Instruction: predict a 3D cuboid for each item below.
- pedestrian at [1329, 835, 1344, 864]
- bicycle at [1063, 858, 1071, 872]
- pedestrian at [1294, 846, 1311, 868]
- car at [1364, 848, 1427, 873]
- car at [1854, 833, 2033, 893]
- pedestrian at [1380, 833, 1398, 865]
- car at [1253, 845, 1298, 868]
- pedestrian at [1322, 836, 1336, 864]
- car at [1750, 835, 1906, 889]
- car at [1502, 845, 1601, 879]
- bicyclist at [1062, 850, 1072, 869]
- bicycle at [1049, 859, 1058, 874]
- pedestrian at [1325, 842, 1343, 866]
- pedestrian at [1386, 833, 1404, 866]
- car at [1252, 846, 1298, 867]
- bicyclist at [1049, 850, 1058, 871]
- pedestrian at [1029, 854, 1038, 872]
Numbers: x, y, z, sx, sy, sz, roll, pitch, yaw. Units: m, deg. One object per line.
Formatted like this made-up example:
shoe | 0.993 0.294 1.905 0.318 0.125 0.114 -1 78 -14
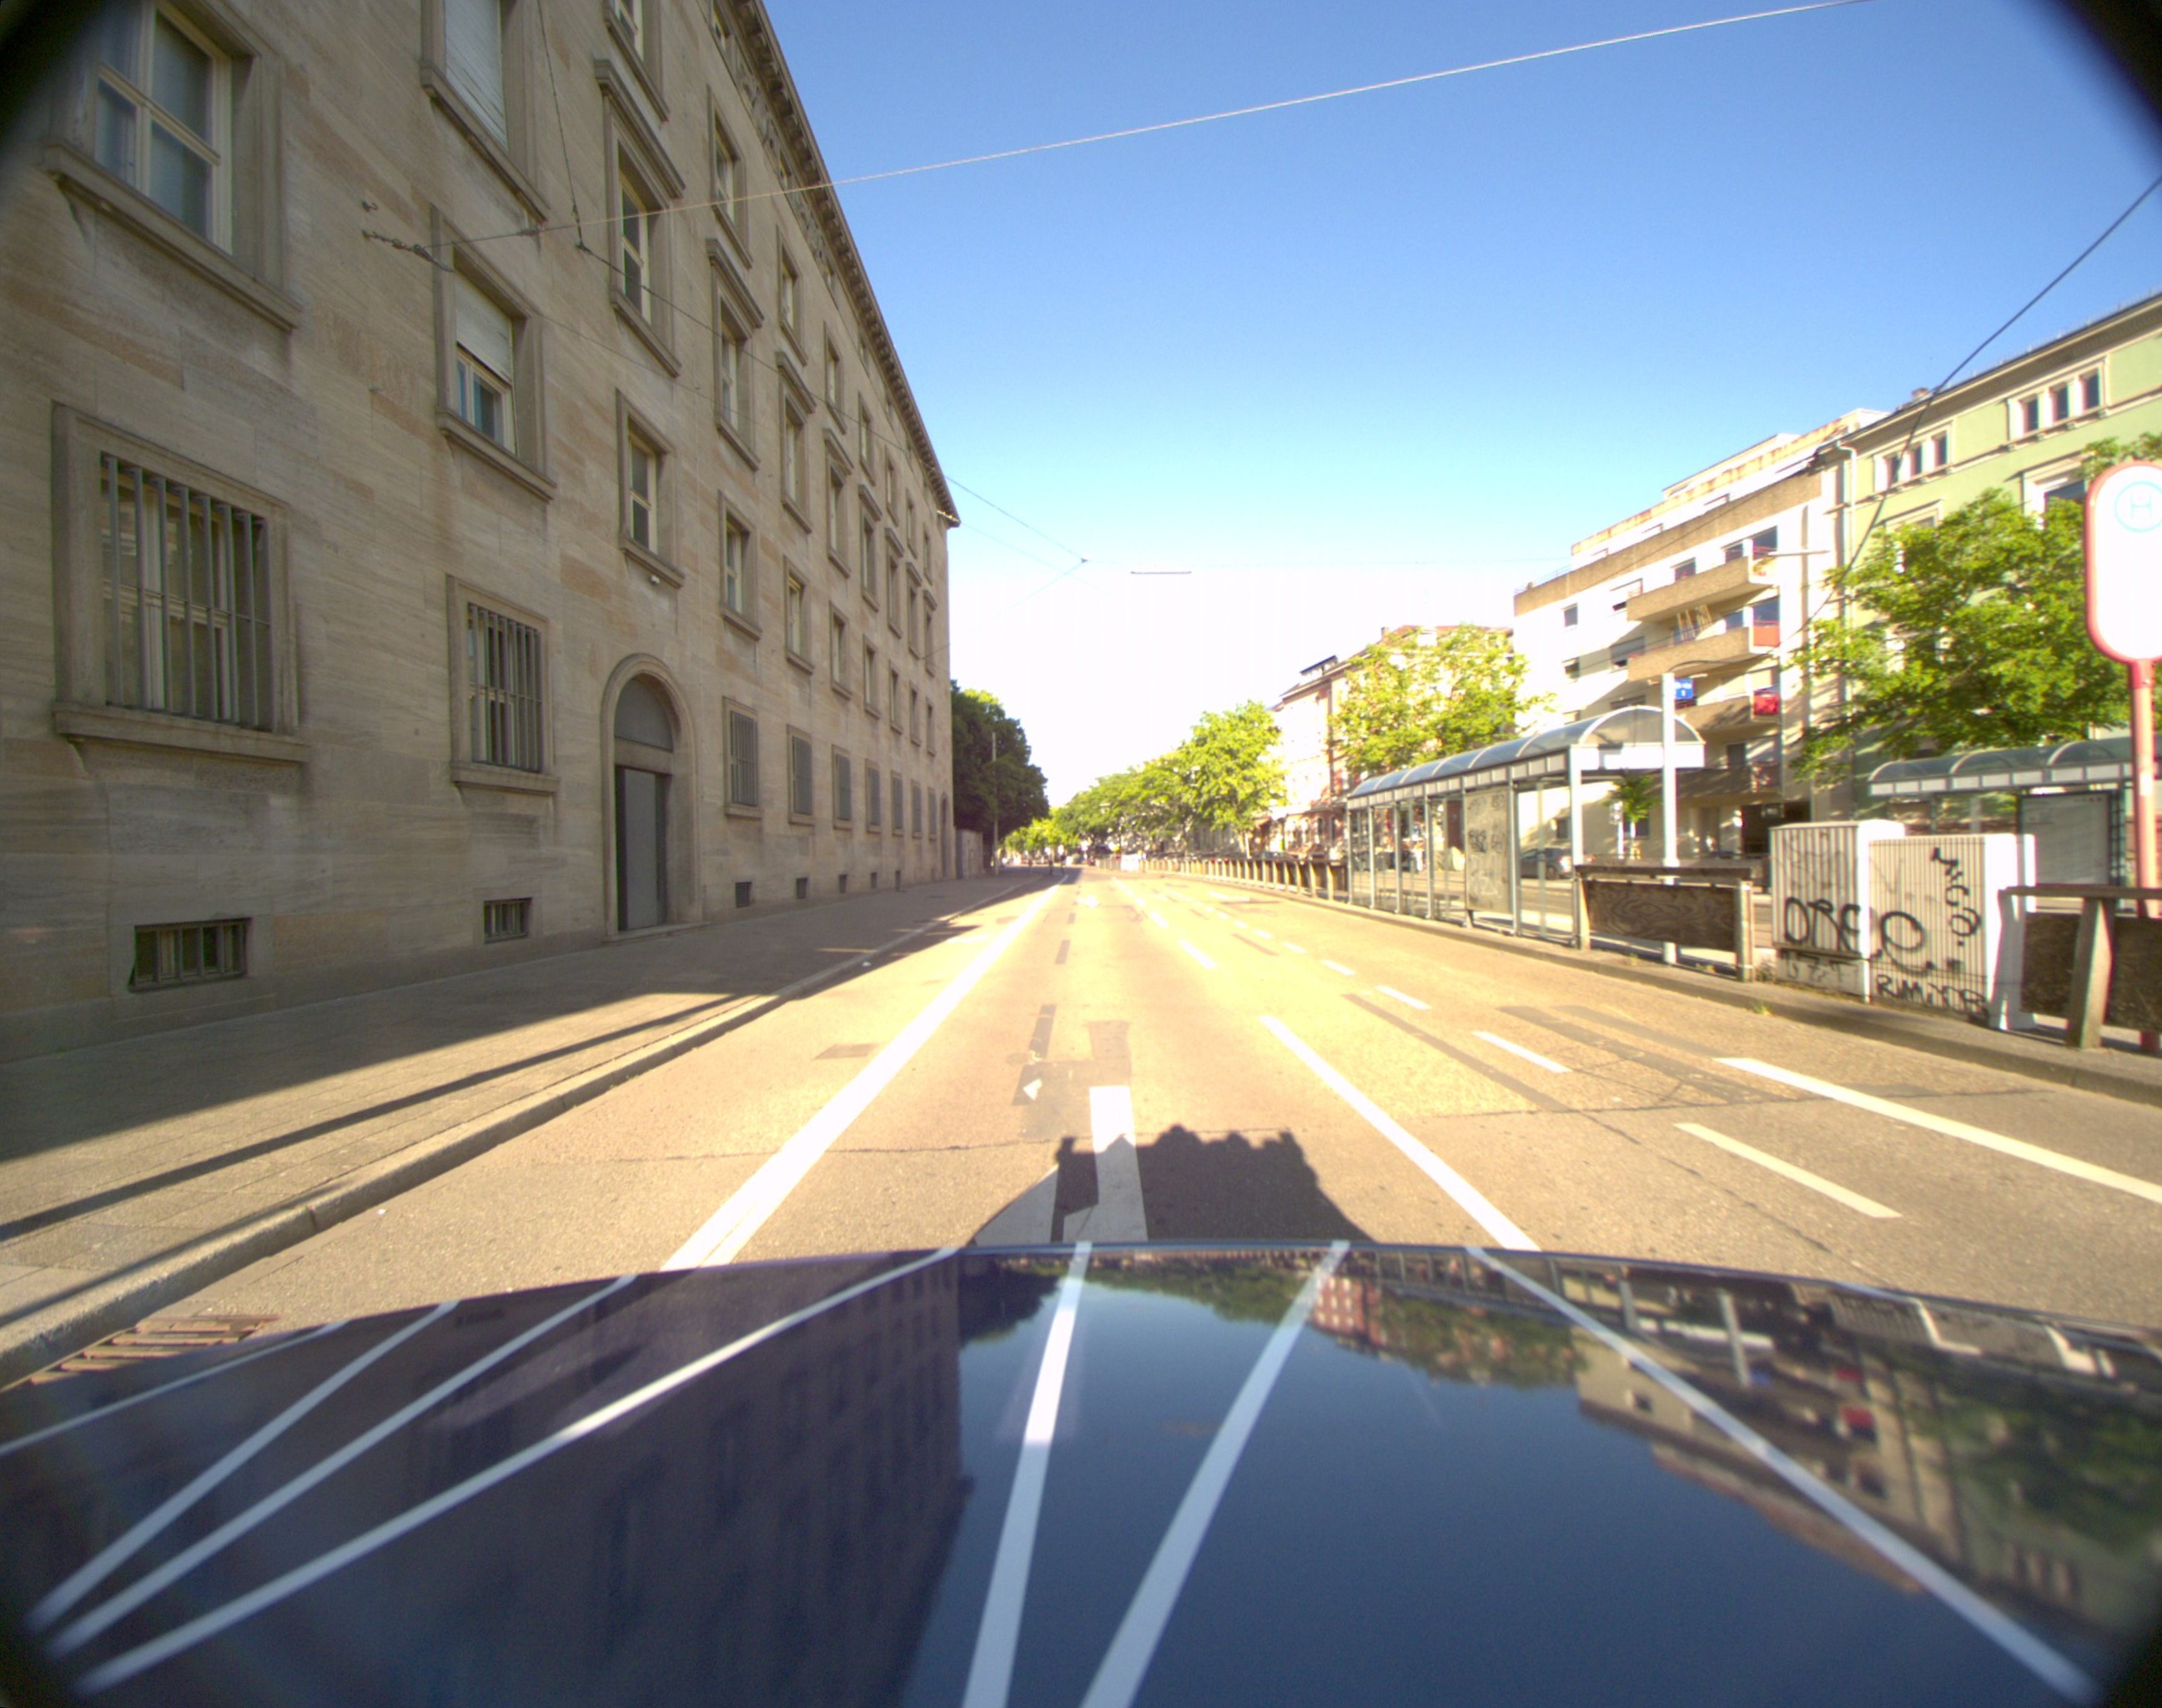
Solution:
pedestrian | 19.424 -0.314 57.730 0.813 2.194 0.756 -1 1 -10
bicycle | -1.133 0.894 61.623 0.625 1.167 1.566 0 0 1
pedestrian | 16.509 0.247 56.663 0.868 1.619 0.891 -1 1 -10
car | 18.429 0.371 44.707 1.609 1.388 3.996 -1 0 -9
car | 24.642 0.220 21.748 4.002 1.573 1.761 -1 0 -14
pedestrian | 21.231 -0.323 52.384 0.813 2.194 0.756 -1 1 -10
car | 13.383 0.177 52.408 1.648 1.480 3.997 -1 0 -7
pedestrian | 19.381 -0.330 59.304 0.812 2.194 0.756 -1 1 -4
car | 23.843 0.223 24.288 4.002 1.573 1.761 -1 0 -14
car | 20.927 0.336 33.958 1.654 1.419 3.737 -1 0 -11
bicyclist | -1.122 0.430 61.568 0.728 1.570 0.775 0 1 1
bicycle | -2.230 1.009 61.928 0.625 1.214 1.659 -3 1 1
pedestrian | 18.437 0.001 55.366 0.855 1.710 1.019 -1 1 -9
pedestrian | 21.263 -0.315 51.496 0.813 2.194 0.756 -1 1 -10
car | 16.304 0.198 63.752 4.134 1.698 1.848 -1 1 -45
bicyclist | -2.253 0.529 62.036 0.625 1.729 0.688 -3 1 1
pedestrian | -3.700 0.699 58.930 0.548 1.327 0.587 -1 1 7
